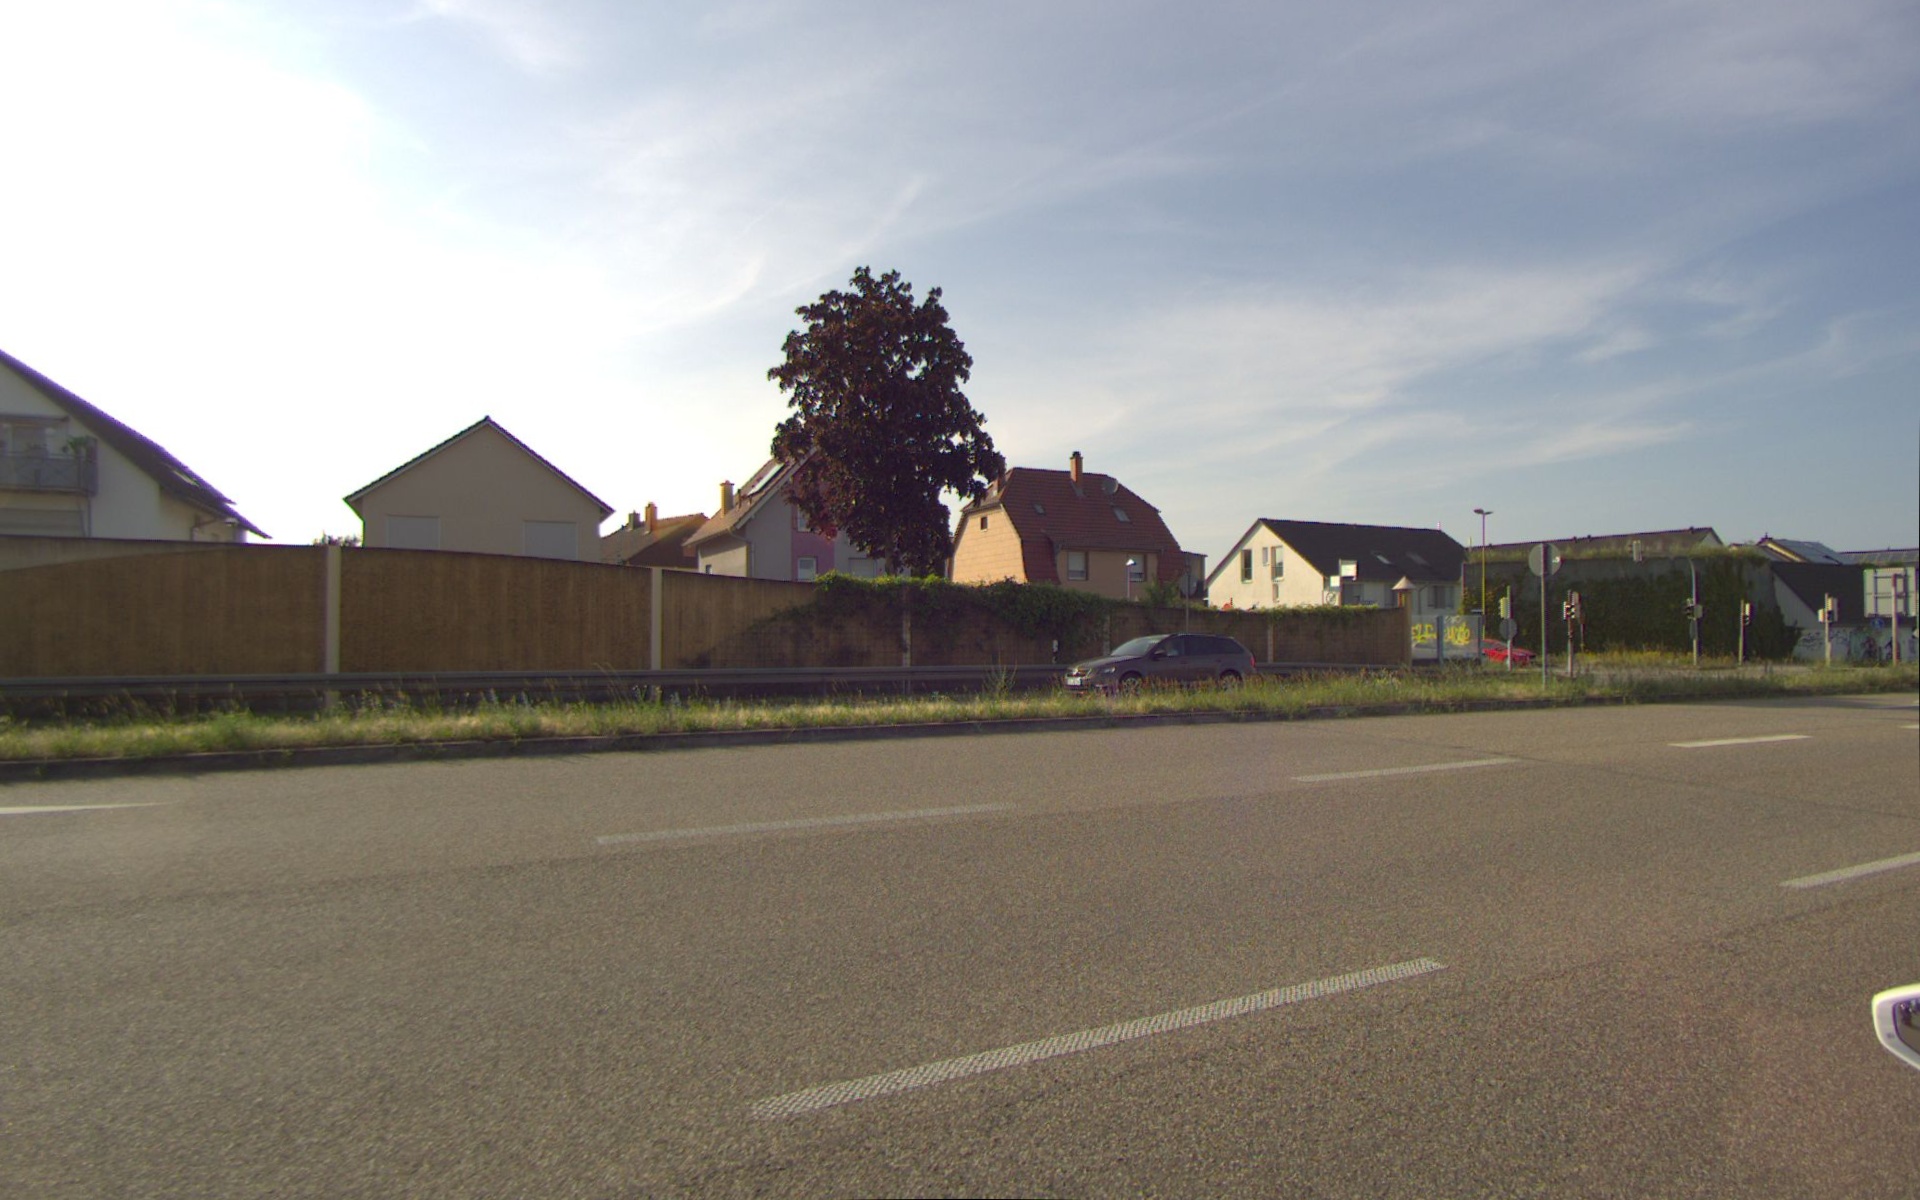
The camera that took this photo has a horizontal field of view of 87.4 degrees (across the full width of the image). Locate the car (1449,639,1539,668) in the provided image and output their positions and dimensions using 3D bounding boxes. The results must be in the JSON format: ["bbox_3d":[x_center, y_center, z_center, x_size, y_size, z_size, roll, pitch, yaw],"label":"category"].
[{"bbox_3d":[27.977,2.772,52.748,1.398,1.258,3.957,1,0,-37],"label":"car"}]

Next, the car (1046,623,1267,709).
[{"bbox_3d":[4.289,1.359,21.759,4.595,1.650,1.717,1,0,-26],"label":"car"}]

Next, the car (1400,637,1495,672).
[{"bbox_3d":[24.399,2.694,50.383,1.739,1.477,3.967,1,0,-30],"label":"car"}]
